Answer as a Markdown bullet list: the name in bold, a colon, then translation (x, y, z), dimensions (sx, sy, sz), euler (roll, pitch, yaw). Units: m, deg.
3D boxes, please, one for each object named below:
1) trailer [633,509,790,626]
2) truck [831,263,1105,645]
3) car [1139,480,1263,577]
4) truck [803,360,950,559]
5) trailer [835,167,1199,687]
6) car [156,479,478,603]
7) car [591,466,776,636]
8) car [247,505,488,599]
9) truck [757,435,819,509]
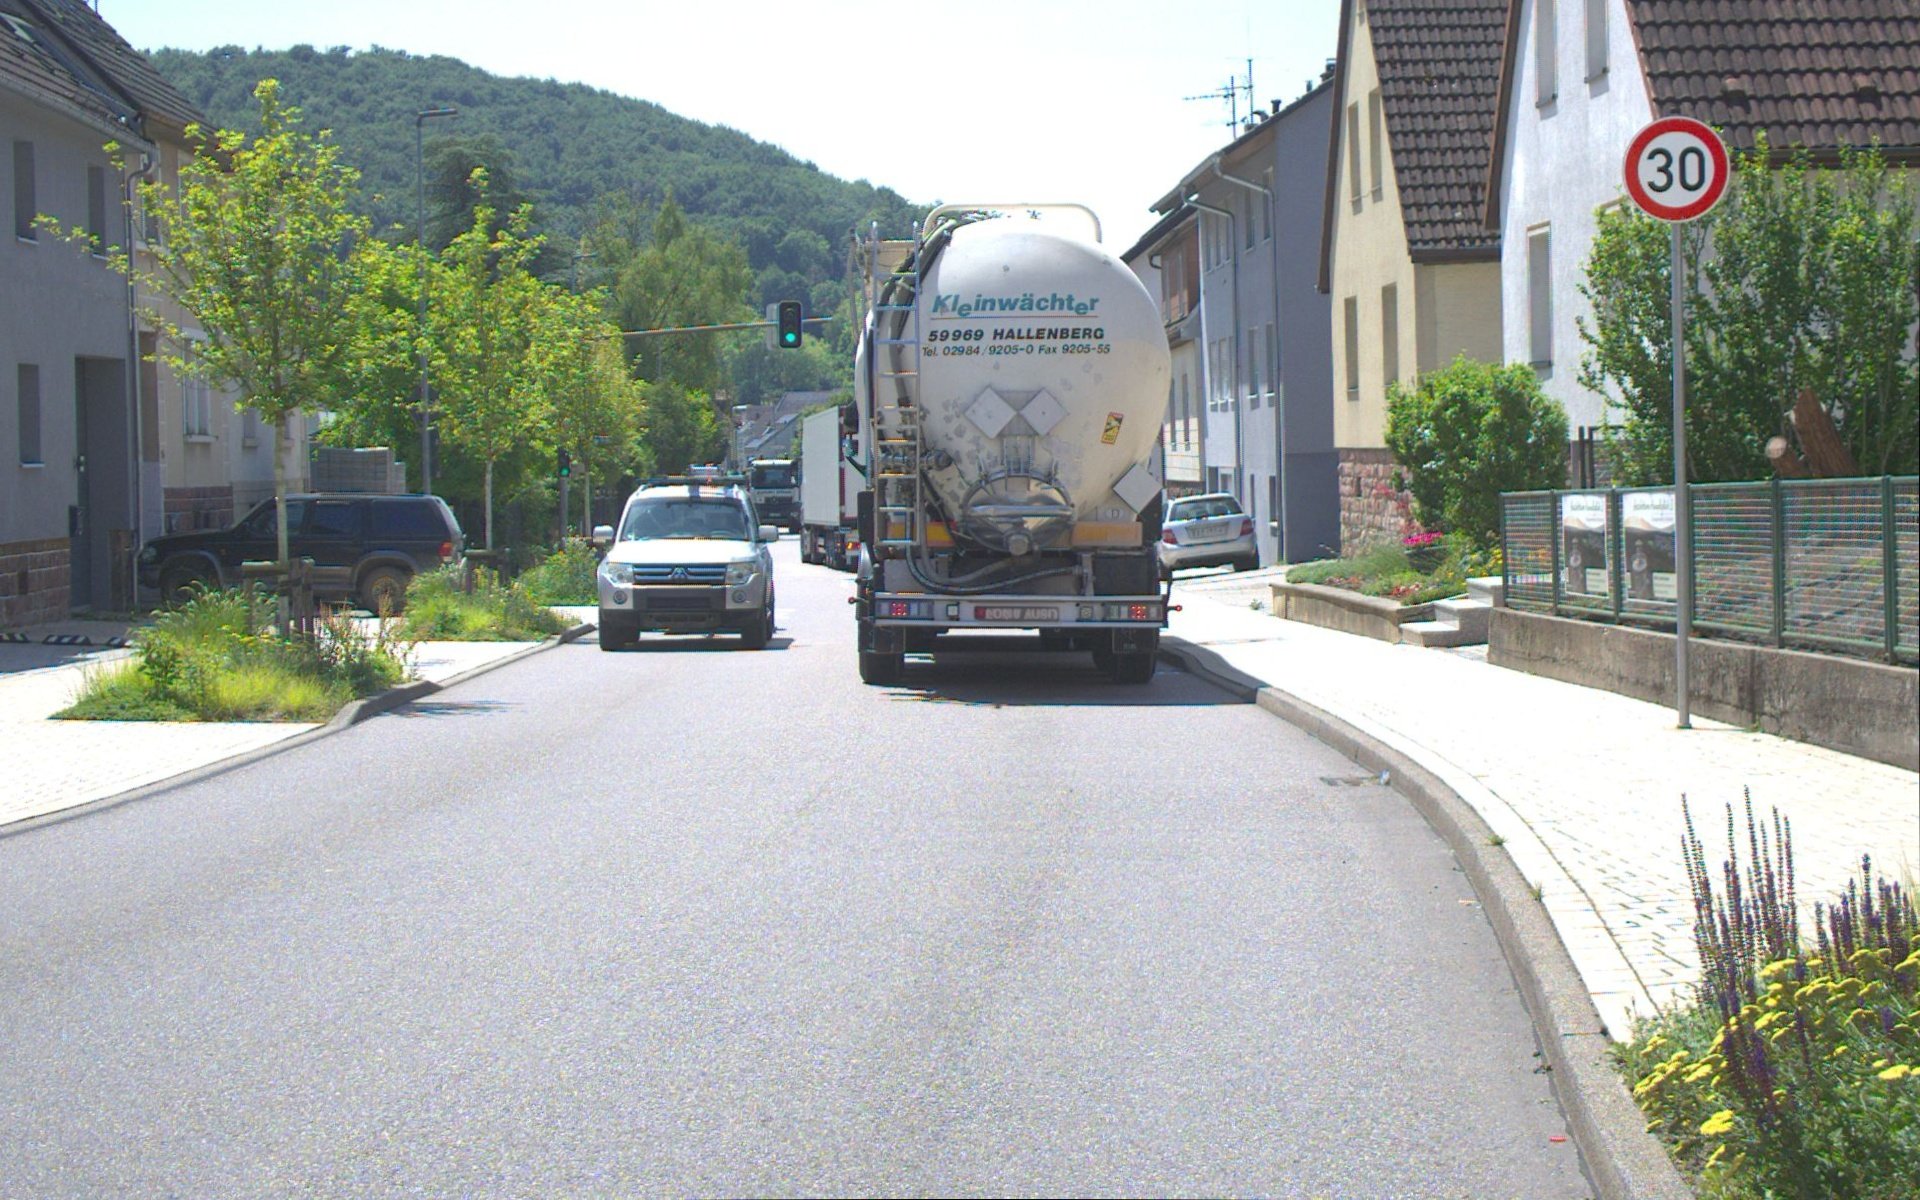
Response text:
- **trailer**: translation (-3.141, -0.457, 44.122), dimensions (1.575, 1.391, 4.403), euler (-1, 2, 1)
- **truck**: translation (0.014, -1.576, 38.401), dimensions (2.808, 3.923, 6.100), euler (0, 1, -1)
- **car**: translation (4.244, -1.283, 61.152), dimensions (1.791, 1.536, 4.520), euler (-4, 1, 0)
- **truck**: translation (-2.238, -3.415, 87.449), dimensions (2.846, 4.662, 11.341), euler (1, 0, -6)
- **trailer**: translation (0.263, -1.459, 31.590), dimensions (2.796, 3.987, 10.325), euler (0, 1, -2)
- **car**: translation (-9.402, -0.880, 50.519), dimensions (4.394, 1.744, 1.878), euler (-1, 2, -2)
- **car**: translation (-3.133, -0.593, 39.715), dimensions (1.889, 1.854, 4.578), euler (0, 1, -2)
- **car**: translation (-9.440, -0.763, 54.709), dimensions (3.546, 1.434, 1.696), euler (0, 2, 33)
- **truck**: translation (-8.056, -5.992, 161.529), dimensions (2.728, 3.360, 8.636), euler (0, 2, -2)
